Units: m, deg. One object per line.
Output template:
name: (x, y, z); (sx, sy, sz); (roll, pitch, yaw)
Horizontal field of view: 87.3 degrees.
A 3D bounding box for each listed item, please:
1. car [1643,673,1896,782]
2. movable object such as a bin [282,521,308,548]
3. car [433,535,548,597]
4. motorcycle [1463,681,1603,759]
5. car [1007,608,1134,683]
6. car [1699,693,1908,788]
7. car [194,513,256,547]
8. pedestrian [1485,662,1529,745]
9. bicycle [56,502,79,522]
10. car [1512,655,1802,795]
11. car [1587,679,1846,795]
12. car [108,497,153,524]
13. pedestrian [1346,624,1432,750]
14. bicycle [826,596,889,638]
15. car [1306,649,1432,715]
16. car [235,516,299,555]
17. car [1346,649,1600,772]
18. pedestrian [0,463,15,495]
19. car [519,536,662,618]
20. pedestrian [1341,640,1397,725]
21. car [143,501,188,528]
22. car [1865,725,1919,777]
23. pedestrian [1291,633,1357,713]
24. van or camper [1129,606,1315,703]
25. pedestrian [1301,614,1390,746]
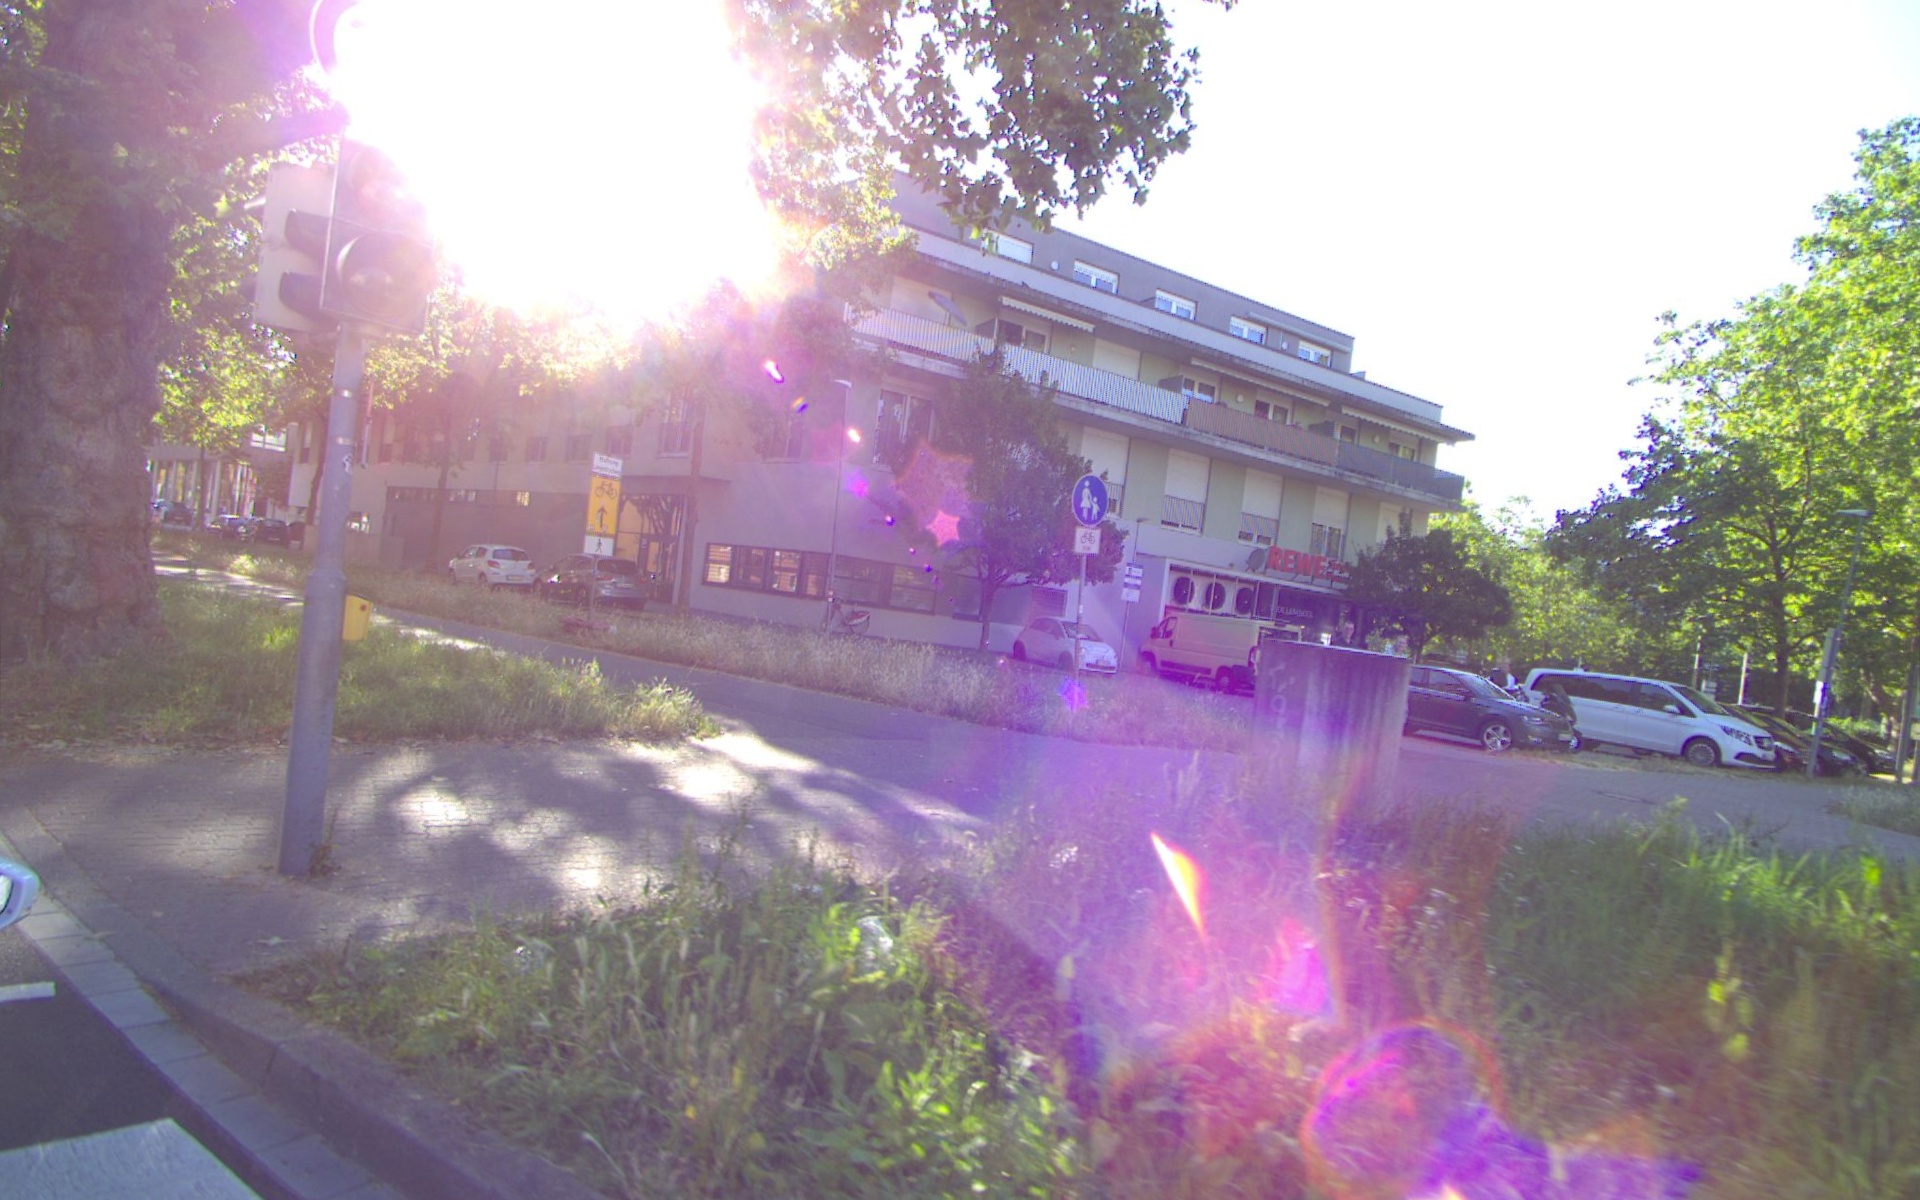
car: (21.093, 3.270, 26.450); (1.981, 1.798, 4.591); (7, 3, -31)
movable object such as a bin: (-42.242, -4.165, 63.896); (1.187, 1.481, 1.393); (7, 0, -37)
car: (-15.726, -1.156, 33.591); (4.260, 1.562, 1.856); (7, 0, 42)
motorcycle: (12.160, 2.525, 21.427); (0.943, 1.263, 2.294); (7, 0, -35)
car: (3.097, 1.256, 28.766); (1.659, 1.474, 3.526); (8, 3, -31)
car: (25.643, 4.191, 30.817); (4.563, 1.798, 1.993); (11, 3, 39)
car: (-41.396, -3.962, 56.642); (4.064, 1.486, 1.857); (7, 0, 40)
pedestrian: (12.304, 2.331, 22.635); (0.556, 1.772, 0.527); (7, -1, -37)
bicycle: (-52.248, -5.152, 58.899); (1.460, 1.016, 0.383); (7, 1, 25)
car: (16.142, 2.836, 23.645); (1.981, 2.124, 5.006); (7, 3, -31)
car: (18.782, 3.357, 25.229); (1.981, 1.798, 4.591); (7, 3, -31)
car: (-65.769, -7.099, 79.753); (4.119, 1.755, 1.874); (7, 0, 39)
pedestrian: (6.948, 1.395, 16.329); (0.790, 1.903, 0.784); (7, 1, -9)
bicycle: (-3.043, 0.502, 29.793); (1.662, 1.030, 0.584); (7, 1, -30)
car: (13.946, 2.760, 34.466); (1.562, 1.653, 3.647); (7, 0, -31)
car: (-36.228, -3.380, 52.533); (3.708, 1.572, 1.856); (7, 0, 42)
car: (9.908, 2.100, 19.719); (1.661, 1.542, 3.944); (7, 3, -36)
pedestrian: (-55.300, -6.998, 58.109); (0.652, 1.784, 0.768); (7, 2, 30)
car: (-10.479, -0.674, 28.368); (4.260, 1.793, 1.902); (7, 0, 42)
pedestrian: (9.398, 1.903, 23.112); (0.678, 1.832, 0.959); (8, 1, 45)
car: (-64.541, -6.924, 81.702); (4.119, 1.755, 1.984); (7, 0, 39)
car: (38.116, 6.046, 38.905); (4.037, 1.819, 2.000); (6, -2, 23)
pedestrian: (8.520, 1.700, 23.557); (0.873, 1.719, 0.943); (7, 1, -28)
van or camper: (7.887, 1.588, 30.895); (2.240, 2.274, 5.329); (7, 0, -29)
pedestrian: (6.095, 1.246, 15.946); (0.769, 1.956, 0.837); (7, 1, -11)
